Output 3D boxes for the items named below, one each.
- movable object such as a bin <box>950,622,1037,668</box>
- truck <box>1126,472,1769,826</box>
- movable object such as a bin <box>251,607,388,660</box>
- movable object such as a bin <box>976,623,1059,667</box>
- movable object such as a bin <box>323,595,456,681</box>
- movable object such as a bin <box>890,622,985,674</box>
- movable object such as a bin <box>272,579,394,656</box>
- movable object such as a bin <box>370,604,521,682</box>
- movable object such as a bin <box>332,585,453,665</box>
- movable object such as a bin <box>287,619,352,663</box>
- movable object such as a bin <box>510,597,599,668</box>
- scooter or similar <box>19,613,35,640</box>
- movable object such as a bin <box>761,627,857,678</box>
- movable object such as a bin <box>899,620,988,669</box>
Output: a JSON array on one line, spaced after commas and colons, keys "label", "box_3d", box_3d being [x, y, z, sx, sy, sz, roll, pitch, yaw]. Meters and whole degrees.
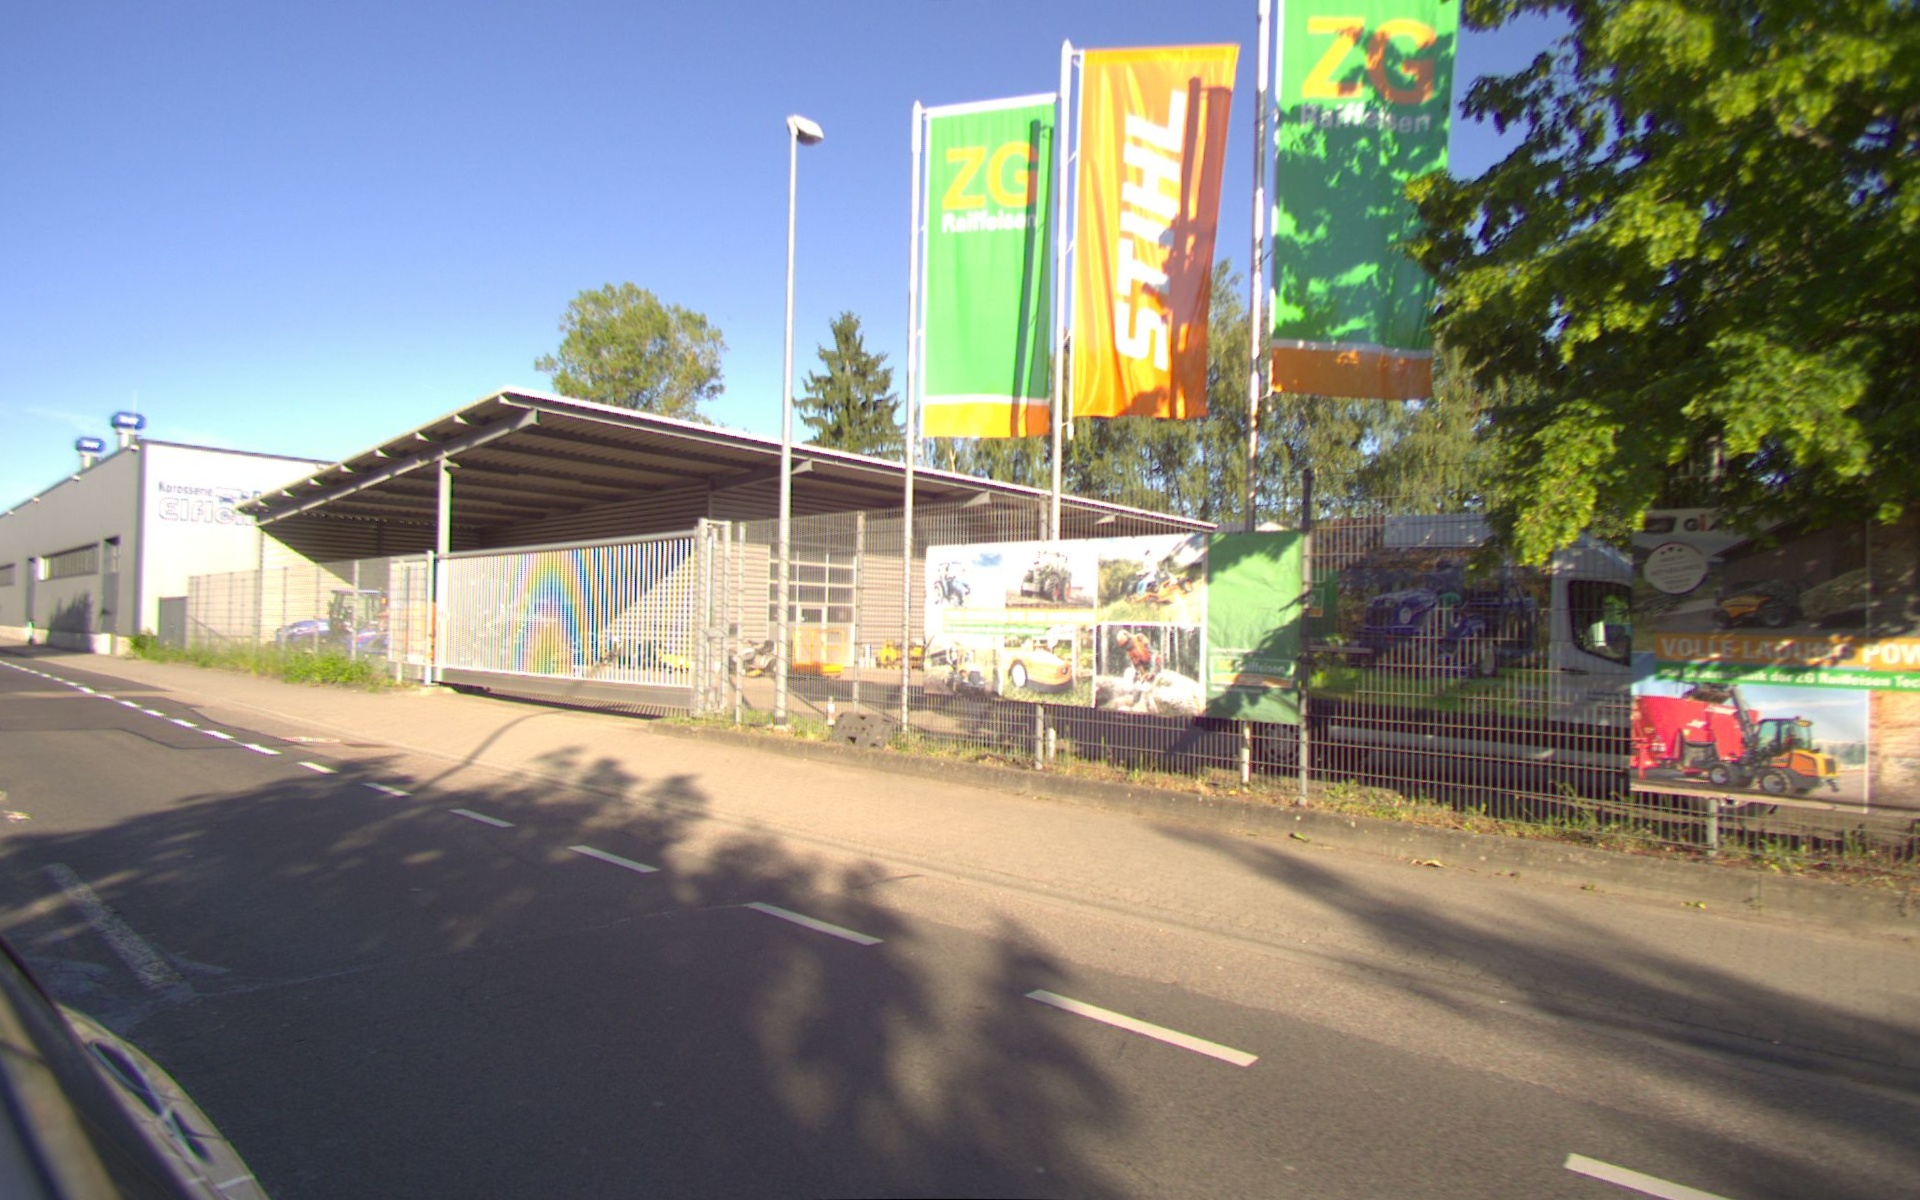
[{"label": "movable object such as a bin", "box_3d": [1.132, 1.510, 34.526, 2.756, 1.502, 1.314, 0, -2, 41]}, {"label": "truck", "box_3d": [4.764, 0.459, 10.660, 5.762, 2.782, 2.057, -1, -3, 41]}, {"label": "movable object such as a bin", "box_3d": [-20.074, 1.060, 31.854, 3.346, 1.625, 1.631, 1, -2, -19]}, {"label": "movable object such as a bin", "box_3d": [2.074, 1.602, 36.541, 2.755, 1.502, 1.314, 0, -2, 40]}, {"label": "movable object such as a bin", "box_3d": [-14.918, 1.001, 26.623, 2.839, 2.165, 1.504, 1, -2, -22]}, {"label": "movable object such as a bin", "box_3d": [-0.704, 1.445, 31.118, 2.756, 1.502, 1.314, 0, -2, 41]}, {"label": "movable object such as a bin", "box_3d": [-18.337, 0.530, 29.725, 2.725, 2.181, 1.528, 1, -2, -19]}, {"label": "movable object such as a bin", "box_3d": [-12.884, 1.068, 25.451, 1.524, 1.849, 3.008, -2, -3, 39]}, {"label": "movable object such as a bin", "box_3d": [-15.688, 0.713, 28.092, 2.752, 2.142, 1.389, 1, -2, -23]}, {"label": "movable object such as a bin", "box_3d": [-21.247, 1.364, 33.587, 1.324, 1.413, 1.455, -2, -3, 39]}, {"label": "movable object such as a bin", "box_3d": [-12.630, 1.014, 31.491, 2.476, 2.108, 1.560, -2, -3, 39]}, {"label": "scooter or similar", "box_3d": [-43.991, 1.245, 47.729, 1.059, 1.277, 0.411, -1, -2, 41]}, {"label": "movable object such as a bin", "box_3d": [-4.204, 1.428, 28.014, 2.633, 1.342, 1.155, -2, -3, 39]}, {"label": "movable object such as a bin", "box_3d": [-0.563, 1.449, 33.306, 2.756, 1.502, 1.314, 0, -2, 41]}]
